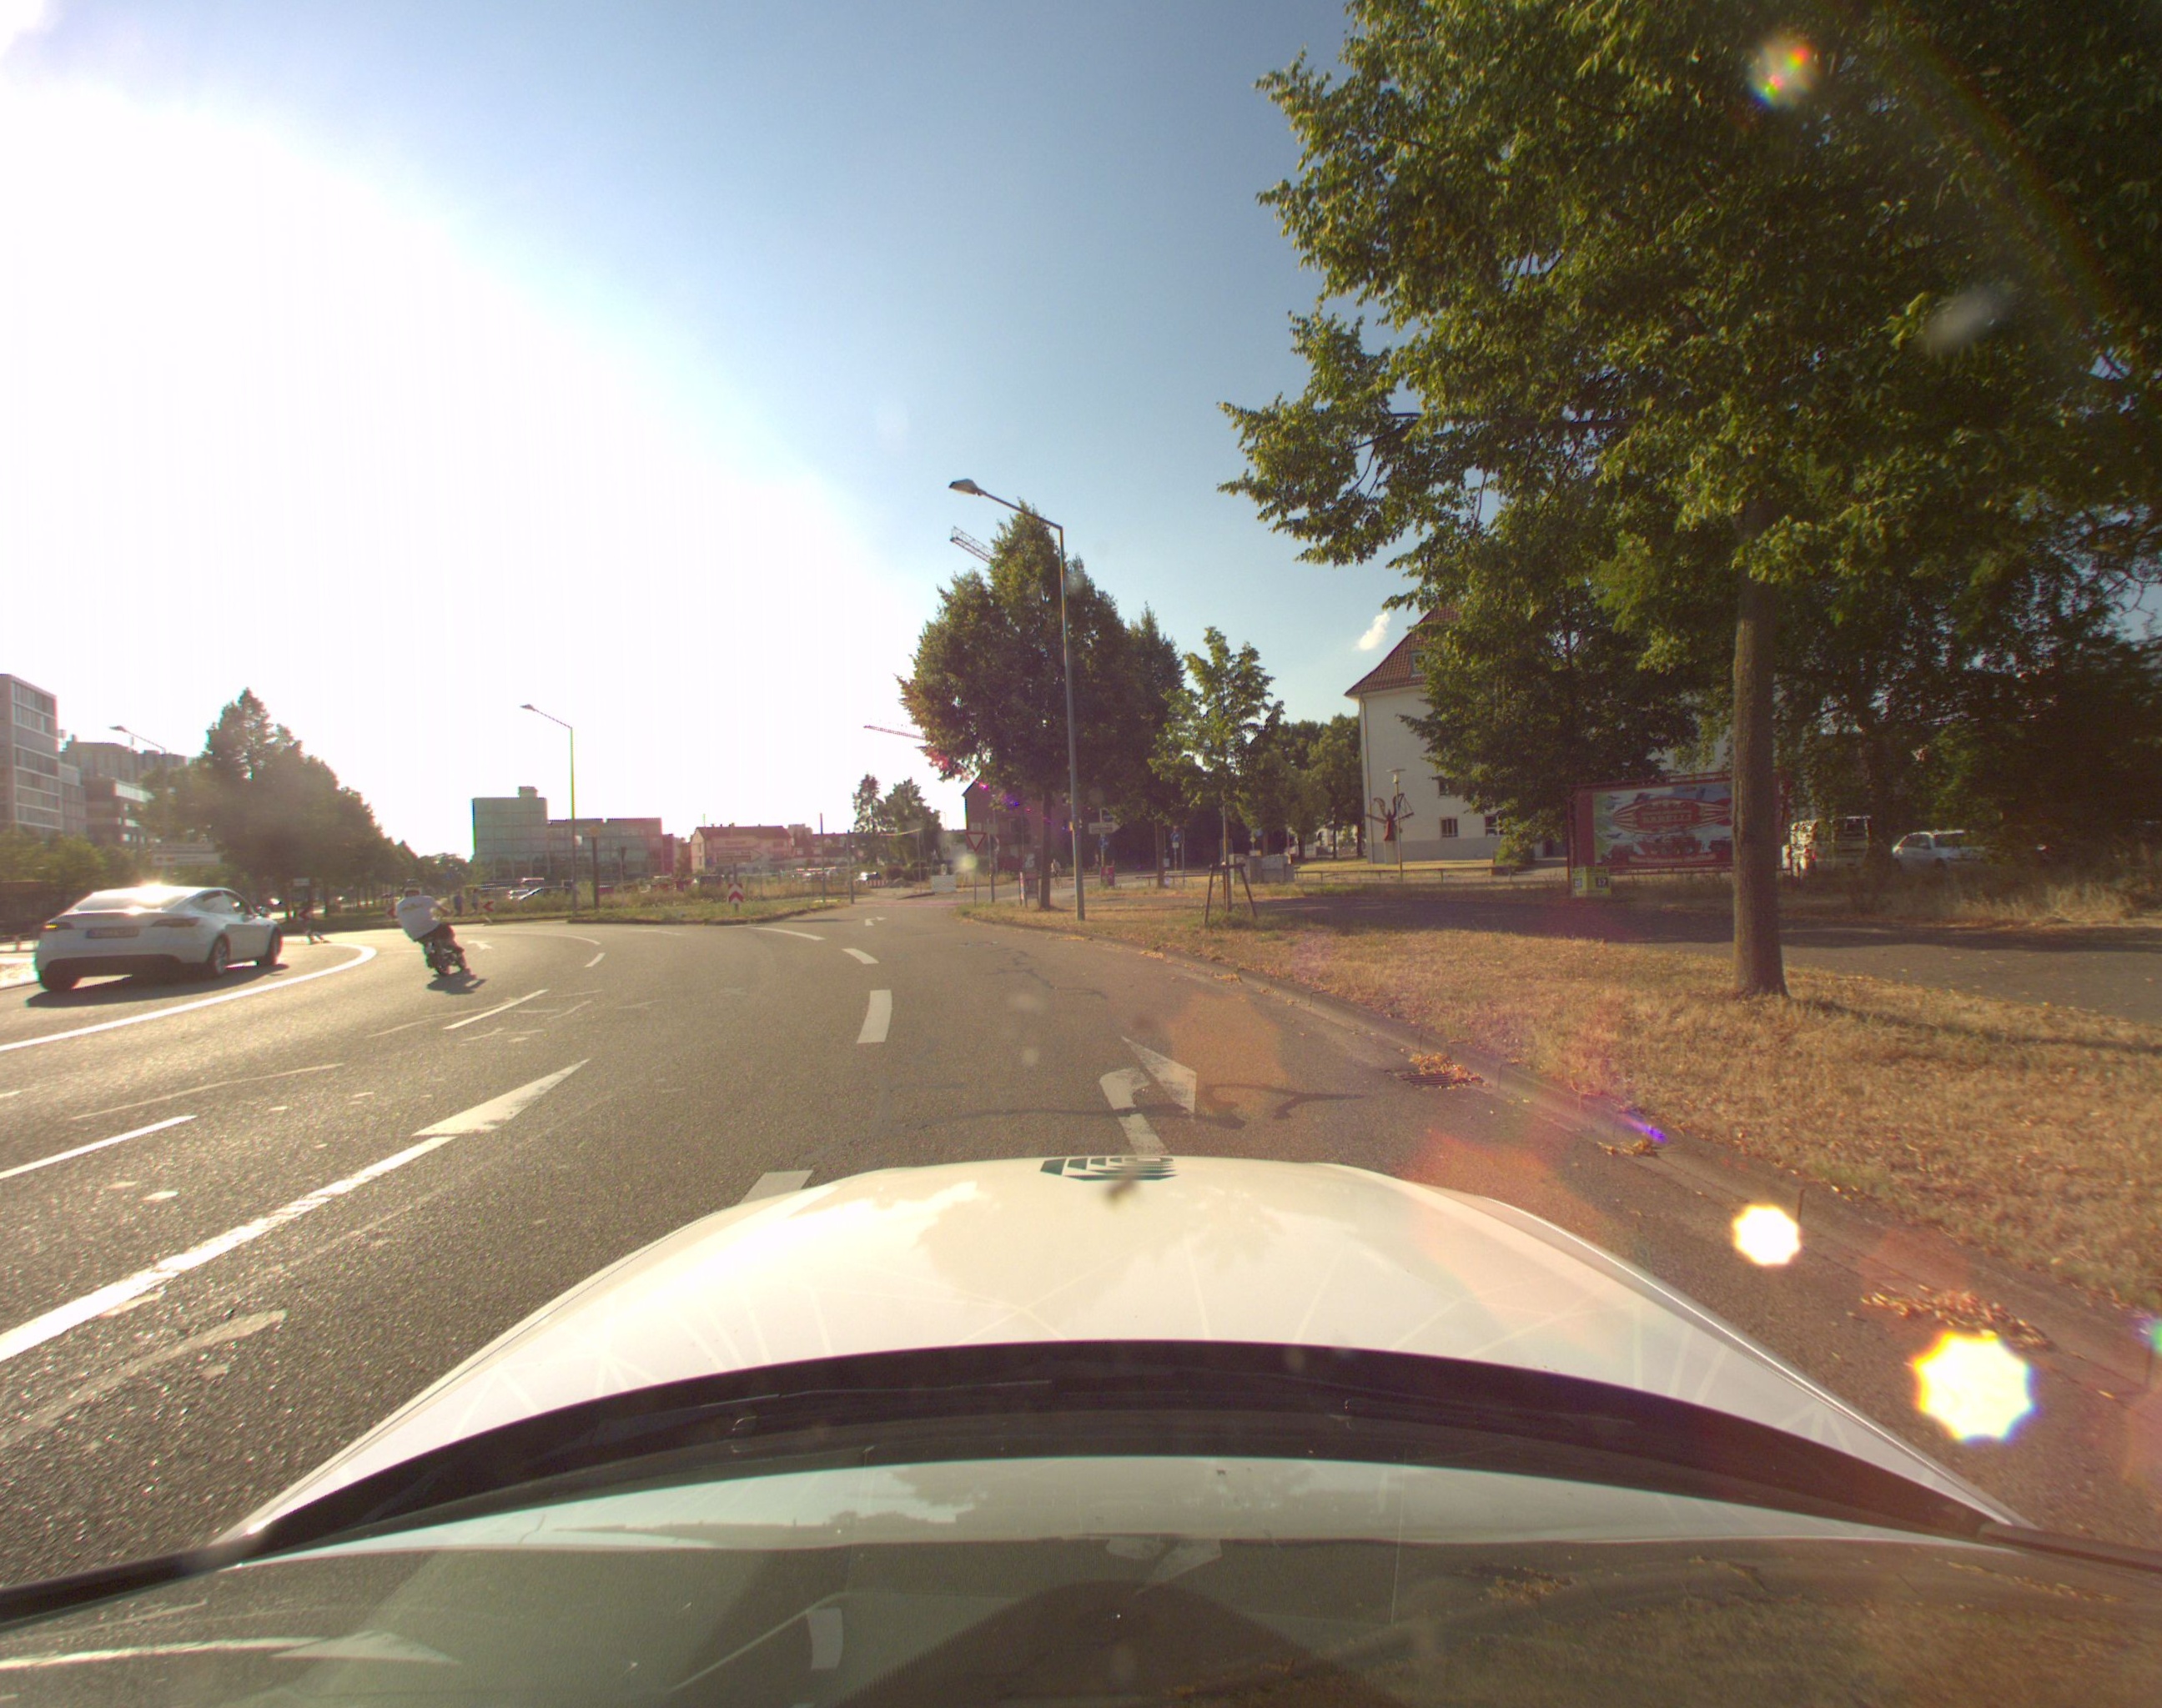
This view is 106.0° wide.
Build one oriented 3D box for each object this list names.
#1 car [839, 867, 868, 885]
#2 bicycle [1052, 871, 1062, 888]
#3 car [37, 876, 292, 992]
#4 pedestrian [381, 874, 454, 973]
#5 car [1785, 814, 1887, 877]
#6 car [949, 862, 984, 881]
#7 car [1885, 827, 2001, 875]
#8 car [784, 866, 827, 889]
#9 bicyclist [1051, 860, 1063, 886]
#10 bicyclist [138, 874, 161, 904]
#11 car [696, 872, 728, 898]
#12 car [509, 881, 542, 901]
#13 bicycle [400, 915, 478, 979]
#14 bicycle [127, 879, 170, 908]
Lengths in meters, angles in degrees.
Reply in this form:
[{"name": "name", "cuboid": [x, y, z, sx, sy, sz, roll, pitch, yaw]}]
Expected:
[{"name": "car", "cuboid": [-27.721, 2.658, 99.237, 1.681, 2.013, 3.774, -2, -1, -44]}, {"name": "bicycle", "cuboid": [-1.492, 1.553, 50.107, 0.595, 0.963, 2.104, -2, -1, -2]}, {"name": "car", "cuboid": [-16.153, 1.271, 14.696, 1.746, 1.599, 4.630, -1, 0, -31]}, {"name": "pedestrian", "cuboid": [-10.815, 1.100, 13.310, 0.659, 1.519, 0.847, -3, 0, -24]}, {"name": "car", "cuboid": [21.766, -0.259, 23.624, 1.754, 1.618, 3.994, -3, -1, 38]}, {"name": "car", "cuboid": [-13.550, 2.089, 96.414, 3.772, 2.014, 1.682, -3, -1, 28]}, {"name": "car", "cuboid": [24.120, -0.112, 22.916, 1.585, 1.181, 3.994, -3, -1, 38]}, {"name": "car", "cuboid": [-26.672, 2.252, 78.766, 3.772, 2.014, 1.682, -3, -1, 28]}, {"name": "bicyclist", "cuboid": [-1.504, 1.169, 50.266, 0.656, 1.562, 0.893, -2, -1, -3]}, {"name": "bicyclist", "cuboid": [-51.676, 1.934, 45.182, 0.607, 1.672, 0.476, -2, -1, -11]}, {"name": "car", "cuboid": [-30.066, 2.503, 66.514, 1.925, 1.854, 3.974, -3, 0, -19]}, {"name": "car", "cuboid": [-60.119, 3.997, 88.104, 3.949, 2.013, 2.012, -3, 0, 43]}, {"name": "bicycle", "cuboid": [-10.636, 1.509, 13.546, 0.479, 0.876, 1.842, -2, 0, -21]}, {"name": "bicycle", "cuboid": [-51.714, 2.177, 45.171, 1.540, 1.473, 0.478, -3, 0, -12]}]
